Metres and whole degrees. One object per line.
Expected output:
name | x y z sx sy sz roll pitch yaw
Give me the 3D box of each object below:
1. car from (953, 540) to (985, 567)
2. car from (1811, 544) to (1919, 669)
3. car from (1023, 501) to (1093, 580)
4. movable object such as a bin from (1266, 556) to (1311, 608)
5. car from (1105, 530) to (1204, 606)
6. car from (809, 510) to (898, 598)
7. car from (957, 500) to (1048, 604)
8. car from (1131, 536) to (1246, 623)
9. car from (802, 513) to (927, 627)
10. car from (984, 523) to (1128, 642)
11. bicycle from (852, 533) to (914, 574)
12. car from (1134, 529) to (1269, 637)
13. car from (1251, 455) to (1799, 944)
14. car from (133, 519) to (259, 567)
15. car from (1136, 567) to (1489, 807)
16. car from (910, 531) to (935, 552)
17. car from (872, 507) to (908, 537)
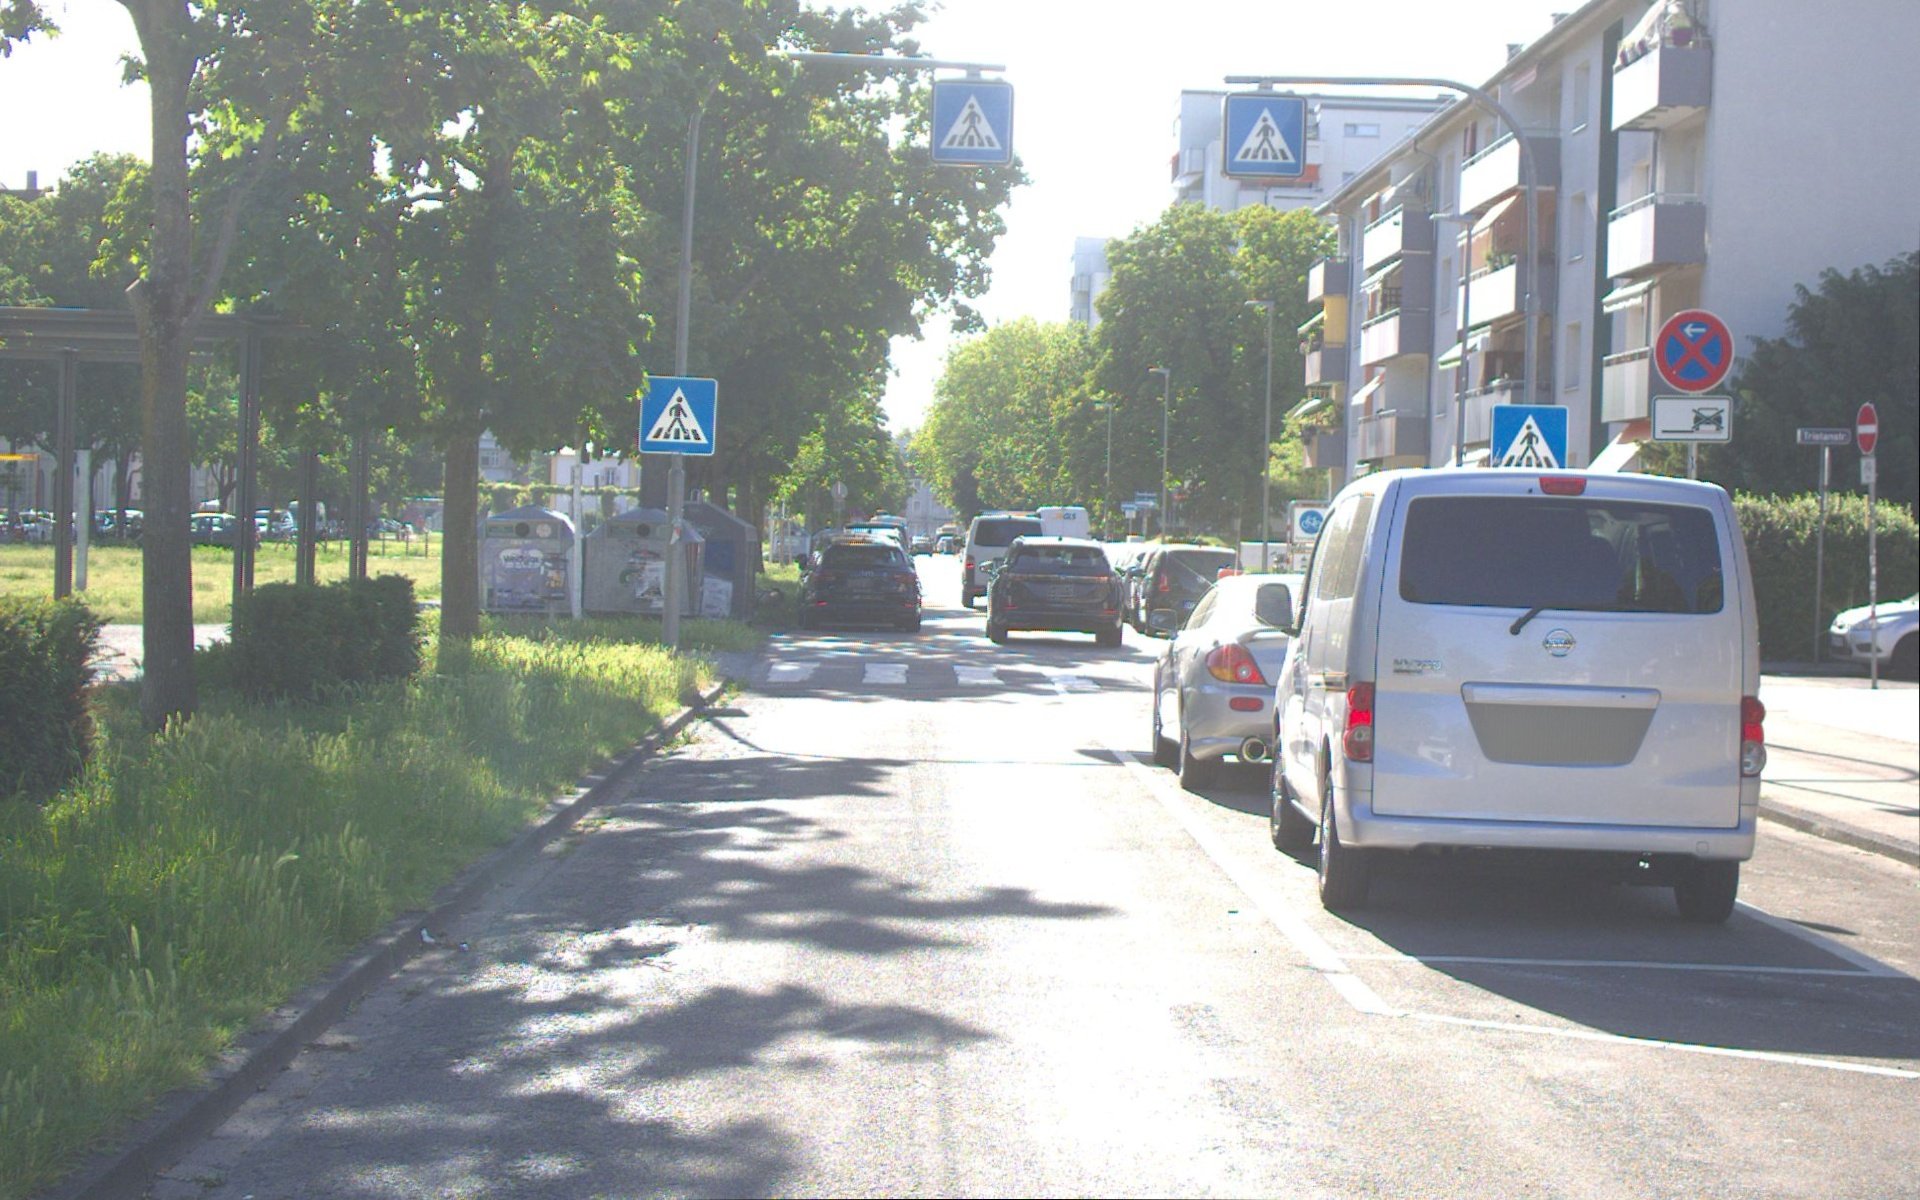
car | 0.509 -2.708 200.849 1.794 1.505 4.000 1 1 0
car | 13.971 0.153 46.334 4.479 1.617 1.800 2 -1 -3
car | 3.231 -1.975 113.788 1.993 2.422 4.500 4 1 0
movable object such as a bin | 9.822 -0.540 102.890 1.091 1.505 2.002 2 1 0
car | 4.116 -0.707 73.217 1.794 1.505 4.000 2 1 0
car | -2.525 -1.116 82.219 1.993 2.007 4.000 1 1 0
car | 0.885 -1.037 73.729 1.794 2.115 4.000 2 1 0
car | 4.231 -0.411 64.213 1.794 1.505 4.000 2 1 0
car | -1.439 -0.486 53.125 1.794 1.619 4.000 2 1 0
car | 1.288 -0.272 47.430 1.794 1.505 4.000 2 1 0
bicycle | -2.974 -1.802 132.852 2.322 1.534 0.630 1 1 -5
car | 3.846 -0.307 55.275 1.794 1.595 4.000 2 1 0
car | 2.390 0.339 15.641 1.794 1.848 4.413 2 1 1
car | -26.482 -1.991 119.242 3.986 1.505 1.800 2 1 -4
car | 2.162 0.487 22.113 1.764 1.314 4.168 3 0 0
car | -2.749 -4.298 251.751 1.794 1.505 4.000 1 1 0
car | -3.602 -4.055 178.145 1.794 1.505 4.000 1 1 0
